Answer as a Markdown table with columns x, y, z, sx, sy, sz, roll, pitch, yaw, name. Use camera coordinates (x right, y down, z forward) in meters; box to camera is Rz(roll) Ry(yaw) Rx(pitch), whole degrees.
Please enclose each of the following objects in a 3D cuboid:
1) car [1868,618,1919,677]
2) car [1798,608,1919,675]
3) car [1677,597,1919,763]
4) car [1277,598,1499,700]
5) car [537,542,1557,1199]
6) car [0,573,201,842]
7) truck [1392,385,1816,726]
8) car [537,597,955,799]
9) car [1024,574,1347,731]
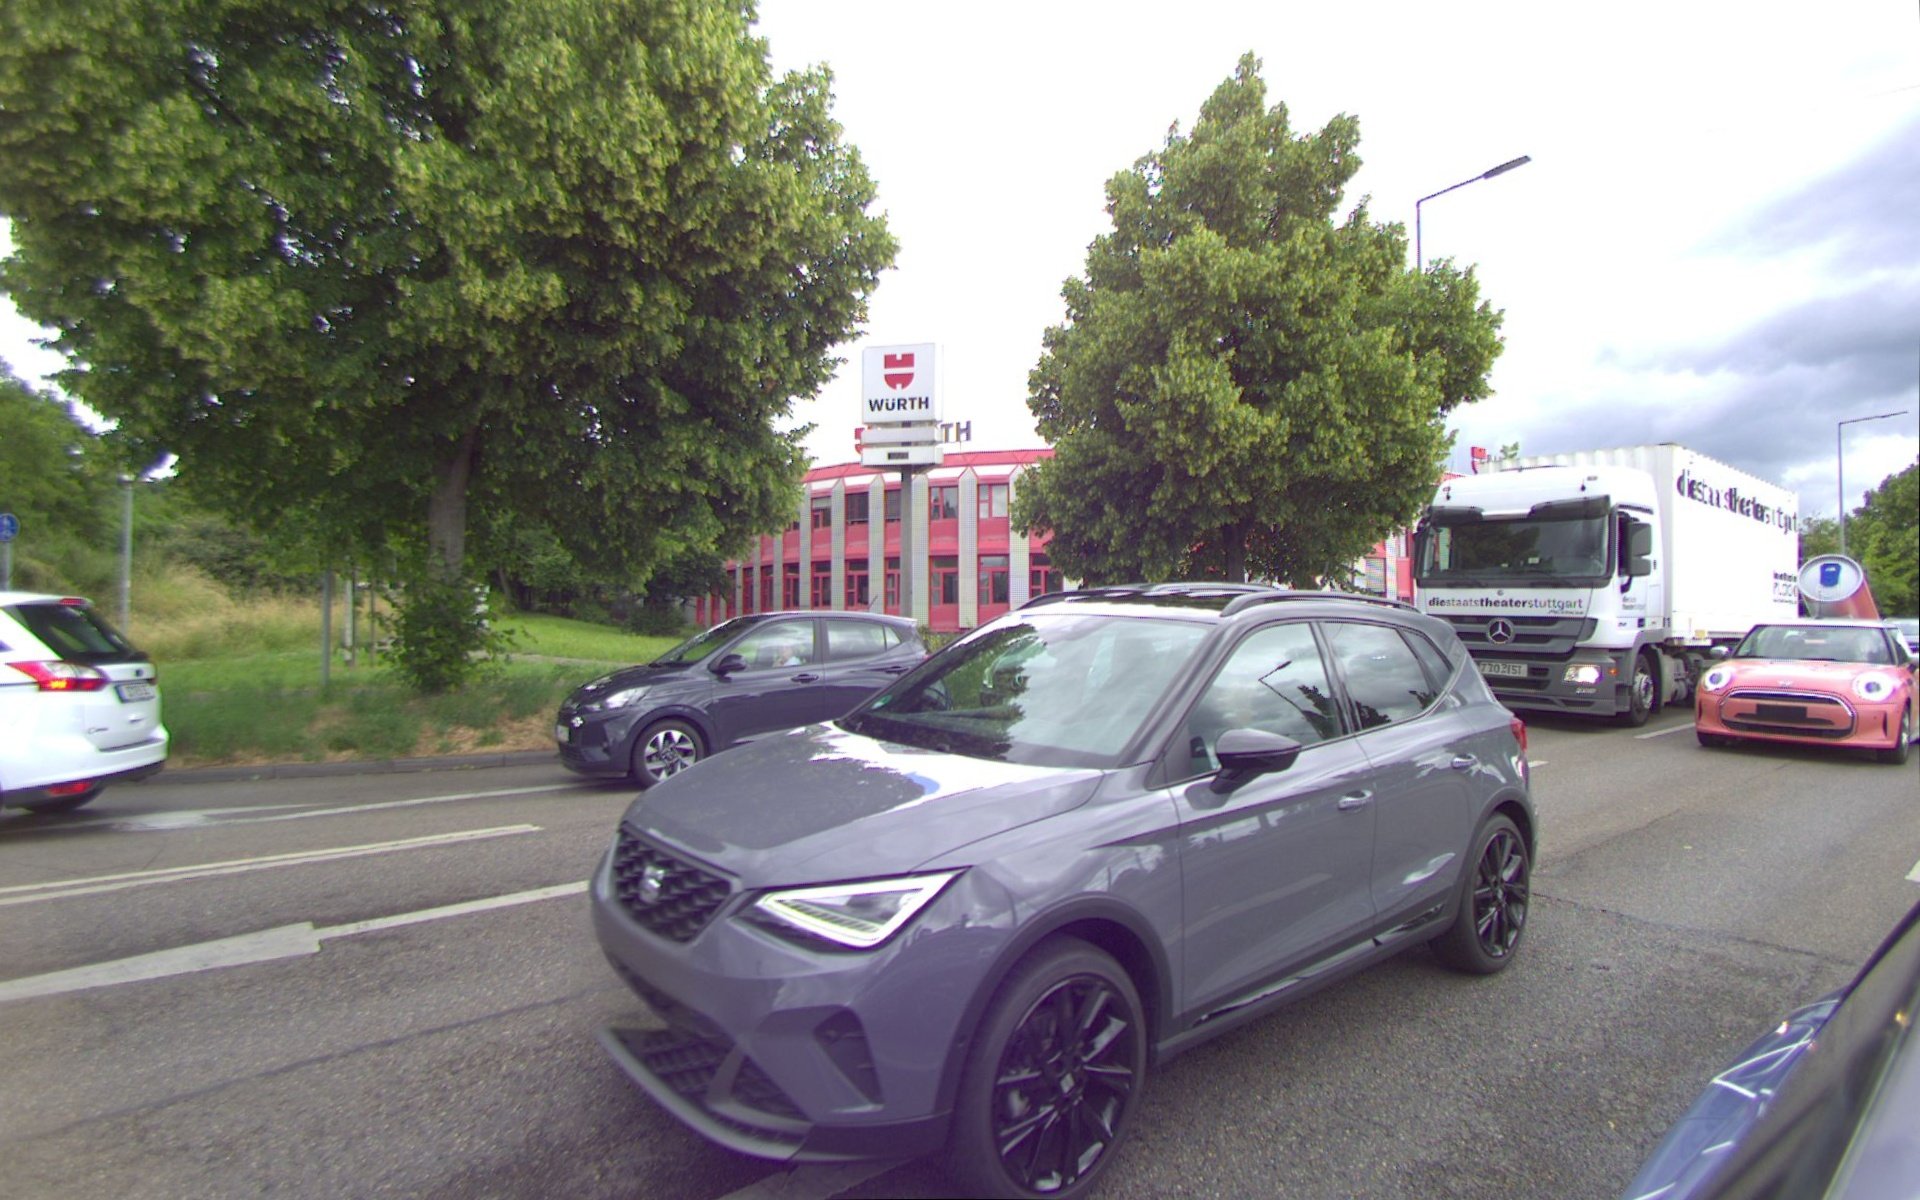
| x | y | z | sx | sy | sz | roll | pitch | yaw | name |
| --- | --- | --- | --- | --- | --- | --- | --- | --- | --- |
| 28.277 | 1.359 | 29.659 | 4.141 | 1.549 | 1.798 | -1 | 0 | -38 | car |
| 23.131 | 1.018 | 25.967 | 4.299 | 1.549 | 1.850 | 1 | -1 | -41 | car |
| 9.531 | 0.743 | 11.149 | 3.431 | 1.525 | 1.825 | 0 | 0 | -39 | car |
| 7.397 | 0.795 | 17.327 | 4.034 | 1.536 | 1.842 | 0 | -4 | -41 | car |
| 0.634 | 0.670 | 3.784 | 3.769 | 1.512 | 1.627 | 1 | -1 | -40 | car |
| -7.861 | 0.682 | 6.624 | 4.277 | 1.676 | 1.768 | 0 | -1 | -19 | car |
| 10.648 | -0.503 | 16.032 | 10.000 | 3.953 | 2.808 | 0 | 0 | -40 | truck |
| -1.942 | 0.756 | 9.482 | 3.495 | 1.525 | 1.608 | -1 | 0 | -34 | car |
| 3.175 | 0.662 | 13.720 | 4.591 | 1.798 | 1.761 | 0 | -4 | -40 | car |
